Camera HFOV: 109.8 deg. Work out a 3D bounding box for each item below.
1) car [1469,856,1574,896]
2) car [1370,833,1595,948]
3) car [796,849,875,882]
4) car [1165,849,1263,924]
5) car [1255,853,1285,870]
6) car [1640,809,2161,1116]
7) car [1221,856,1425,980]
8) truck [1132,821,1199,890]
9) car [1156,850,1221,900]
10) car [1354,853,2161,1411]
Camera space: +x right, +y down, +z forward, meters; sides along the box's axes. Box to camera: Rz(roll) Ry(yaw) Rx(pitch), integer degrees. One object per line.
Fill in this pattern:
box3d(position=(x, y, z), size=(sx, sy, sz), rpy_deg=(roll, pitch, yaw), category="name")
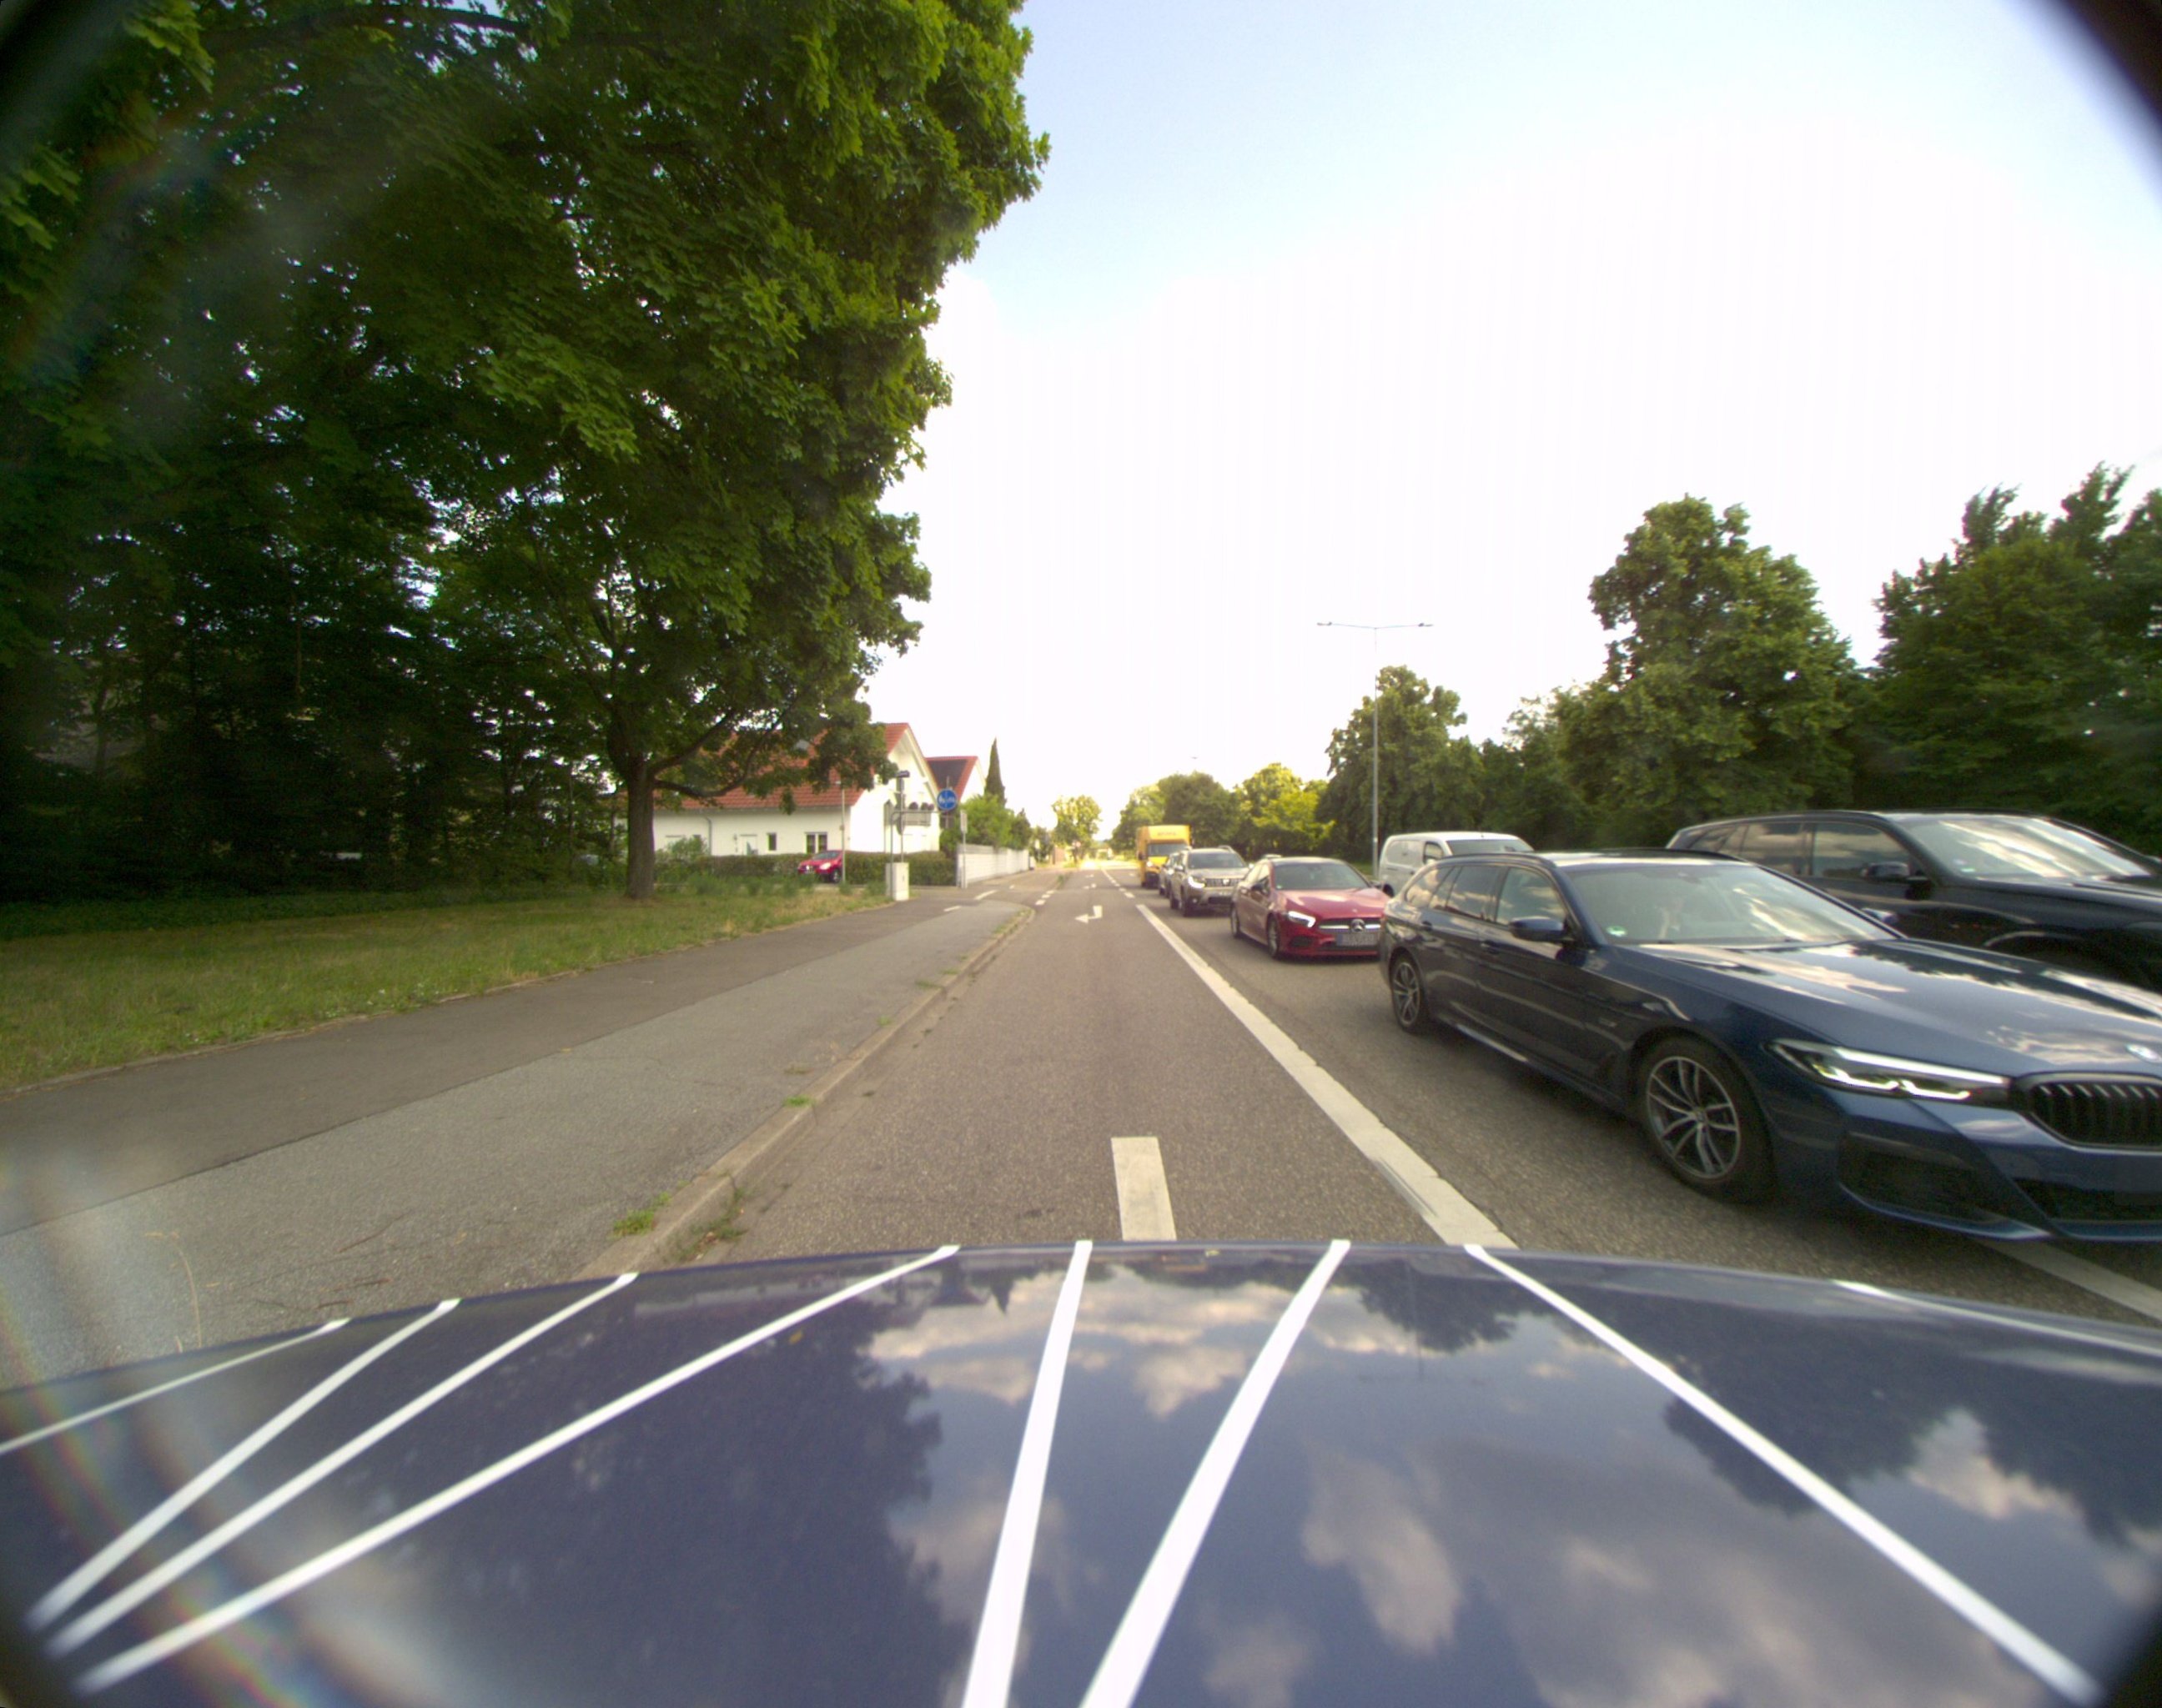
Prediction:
box3d(position=(16.999, 0.790, 29.585), size=(1.672, 1.416, 4.238), rpy_deg=(0, 0, 1), category="car")
box3d(position=(7.220, 0.548, 14.319), size=(1.770, 1.788, 4.730), rpy_deg=(-1, 1, 1), category="car")
box3d(position=(-11.812, 0.537, 36.862), size=(1.679, 1.521, 4.397), rpy_deg=(0, 0, 11), category="car")
box3d(position=(3.191, 0.718, 18.964), size=(1.727, 1.602, 4.175), rpy_deg=(-1, 1, 1), category="car")
box3d(position=(16.521, 0.611, 66.508), size=(1.672, 1.379, 3.999), rpy_deg=(-2, 1, 1), category="car")
box3d(position=(7.033, 0.574, 6.070), size=(1.817, 1.736, 4.549), rpy_deg=(-1, 1, 1), category="car")
box3d(position=(3.462, 0.810, 11.810), size=(1.727, 1.454, 4.535), rpy_deg=(-2, 0, 1), category="car")
box3d(position=(3.824, 0.061, 35.786), size=(2.363, 2.843, 6.966), rpy_deg=(-2, 0, 1), category="truck")
box3d(position=(3.672, 0.683, 26.494), size=(1.727, 1.522, 3.893), rpy_deg=(-2, 1, 1), category="car")
box3d(position=(3.417, 0.799, 4.599), size=(1.801, 1.488, 4.872), rpy_deg=(-2, 1, 1), category="car")
